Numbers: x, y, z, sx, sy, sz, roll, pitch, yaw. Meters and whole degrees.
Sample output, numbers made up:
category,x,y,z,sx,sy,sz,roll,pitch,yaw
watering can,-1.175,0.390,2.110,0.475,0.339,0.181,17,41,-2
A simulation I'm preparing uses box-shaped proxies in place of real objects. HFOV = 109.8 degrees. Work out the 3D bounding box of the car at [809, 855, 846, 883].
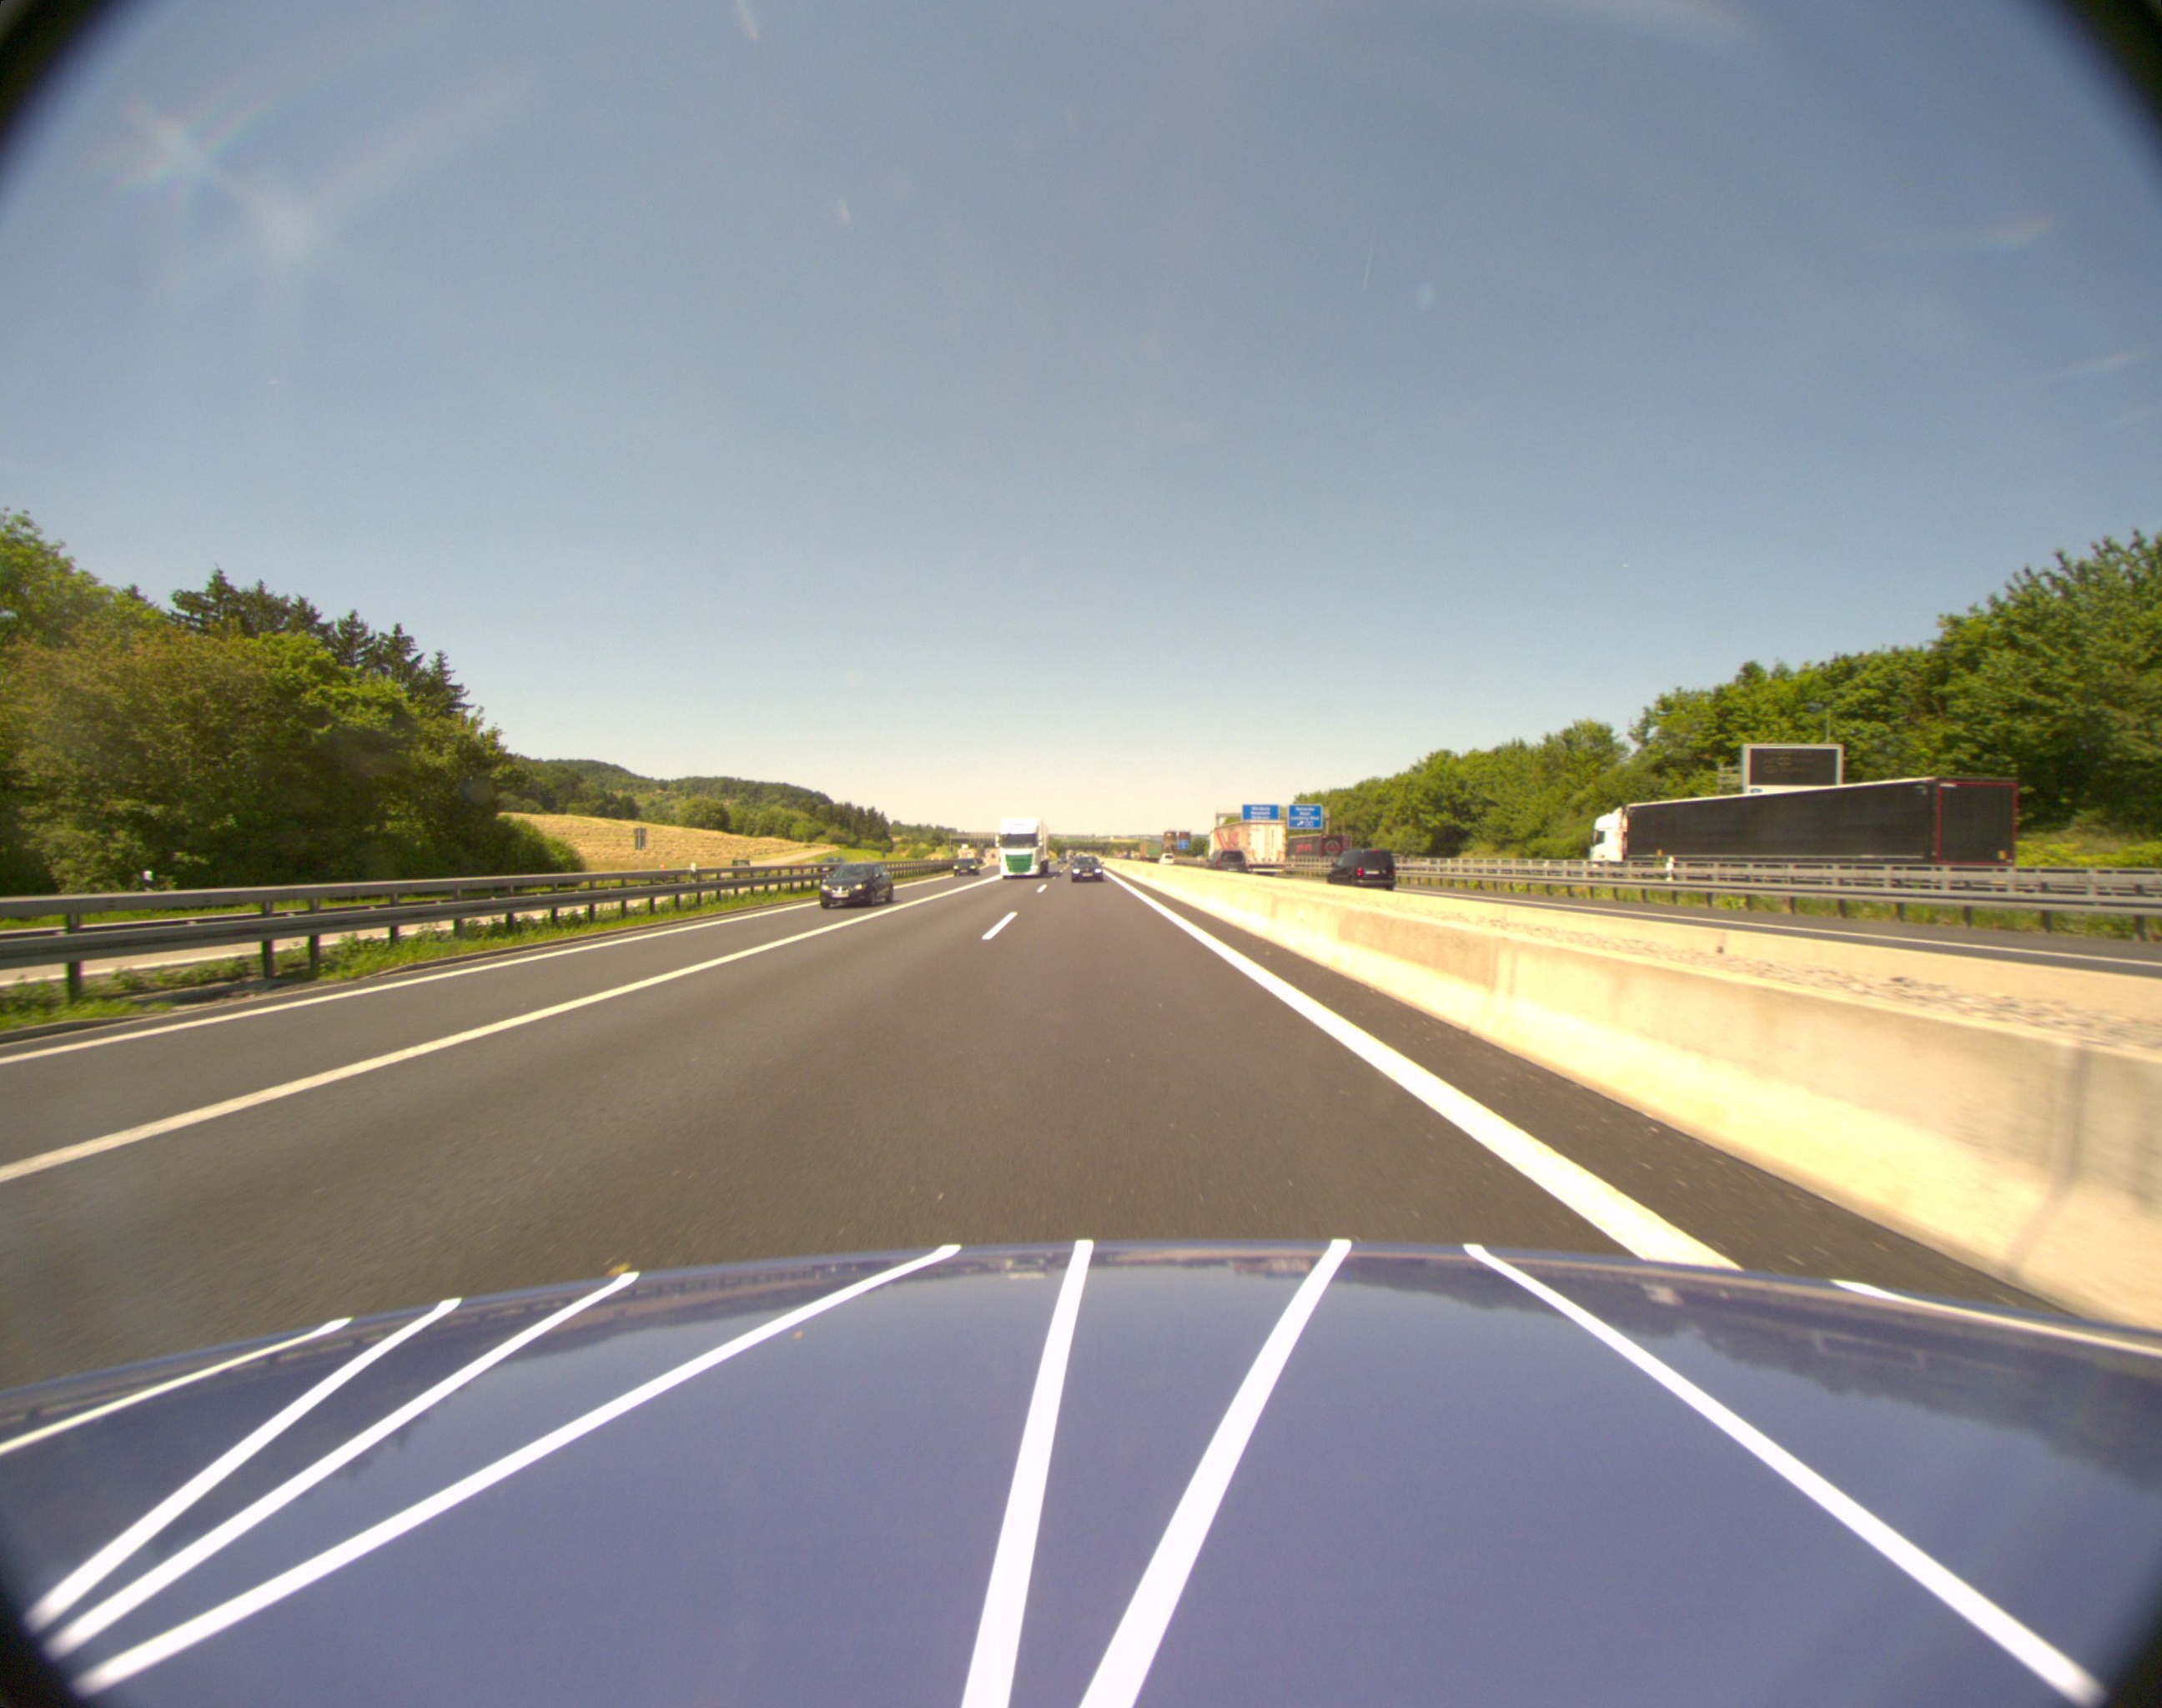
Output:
category,x,y,z,sx,sy,sz,roll,pitch,yaw
car,-19.913,1.135,59.801,2.000,2.002,3.997,-2,1,-8

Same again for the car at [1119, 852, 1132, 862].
category,x,y,z,sx,sy,sz,roll,pitch,yaw
car,8.173,0.498,139.511,1.989,1.816,4.825,-2,1,-1

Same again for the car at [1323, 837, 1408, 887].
category,x,y,z,sx,sy,sz,roll,pitch,yaw
car,12.303,0.307,33.214,1.998,2.002,4.484,-1,1,0

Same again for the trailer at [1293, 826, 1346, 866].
category,x,y,z,sx,sy,sz,roll,pitch,yaw
trailer,28.619,-0.978,91.752,2.801,4.408,11.652,-1,1,0

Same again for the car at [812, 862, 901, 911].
category,x,y,z,sx,sy,sz,roll,pitch,yaw
car,-7.414,1.037,25.439,1.781,1.392,3.761,-1,1,1

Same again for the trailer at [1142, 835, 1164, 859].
category,x,y,z,sx,sy,sz,roll,pitch,yaw
trailer,13.182,-1.339,140.524,2.674,4.248,13.812,-2,1,0

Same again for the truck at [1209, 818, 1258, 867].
category,x,y,z,sx,sy,sz,roll,pitch,yaw
truck,13.029,-0.954,65.420,2.936,3.950,5.897,-1,1,0

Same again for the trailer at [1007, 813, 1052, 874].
category,x,y,z,sx,sy,sz,roll,pitch,yaw
trailer,-3.903,-0.773,60.936,2.663,4.164,14.892,-2,0,0

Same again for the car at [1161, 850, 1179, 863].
category,x,y,z,sx,sy,sz,roll,pitch,yaw
car,12.787,0.362,109.830,1.746,1.816,4.901,-2,1,-3

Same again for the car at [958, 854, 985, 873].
category,x,y,z,sx,sy,sz,roll,pitch,yaw
car,-8.997,0.748,62.673,1.892,1.464,3.865,-2,1,-4

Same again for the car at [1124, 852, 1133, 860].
category,x,y,z,sx,sy,sz,roll,pitch,yaw
car,11.613,0.433,186.385,1.923,2.002,5.346,0,0,0

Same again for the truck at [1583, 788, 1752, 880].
category,x,y,z,sx,sy,sz,roll,pitch,yaw
truck,28.562,-0.932,37.499,3.228,4.022,6.638,-1,1,0

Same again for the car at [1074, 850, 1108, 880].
category,x,y,z,sx,sy,sz,roll,pitch,yaw
car,0.532,0.587,43.142,1.799,1.574,3.999,-2,1,0

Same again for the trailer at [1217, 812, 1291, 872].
category,x,y,z,sx,sy,sz,roll,pitch,yaw
trailer,12.999,-0.891,58.245,2.917,4.022,12.062,-1,1,0

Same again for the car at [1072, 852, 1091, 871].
category,x,y,z,sx,sy,sz,roll,pitch,yaw
car,0.064,0.861,87.755,1.998,2.002,3.999,-2,1,0

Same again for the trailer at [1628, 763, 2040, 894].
category,x,y,z,sx,sy,sz,roll,pitch,yaw
trailer,28.516,-0.859,30.605,3.228,4.022,13.535,-1,1,0

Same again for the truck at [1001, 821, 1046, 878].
category,x,y,z,sx,sy,sz,roll,pitch,yaw
truck,-3.841,-0.314,51.286,2.649,3.572,4.403,-2,1,-1

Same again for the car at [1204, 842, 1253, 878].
category,x,y,z,sx,sy,sz,roll,pitch,yaw
car,8.867,0.308,46.003,2.056,2.002,4.954,-1,1,1
